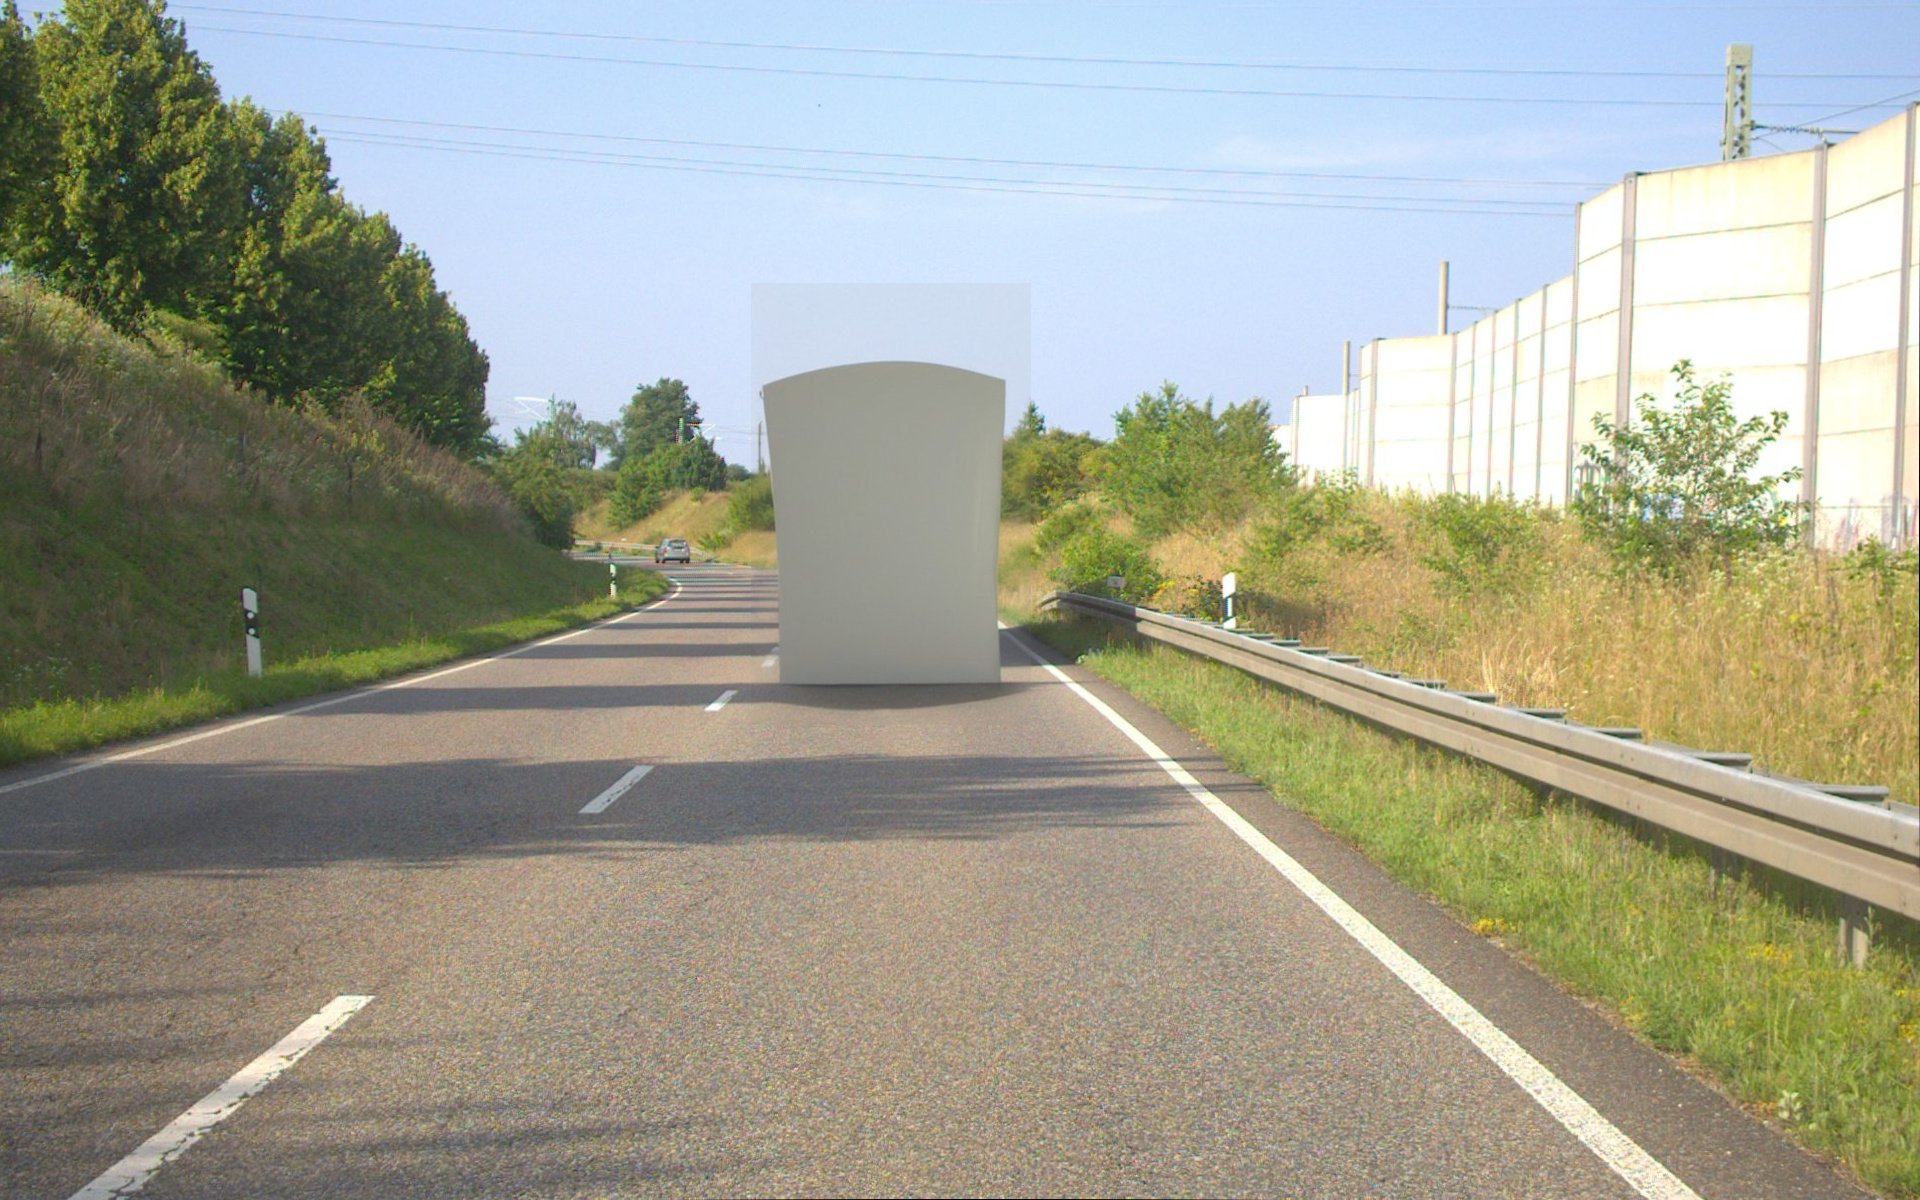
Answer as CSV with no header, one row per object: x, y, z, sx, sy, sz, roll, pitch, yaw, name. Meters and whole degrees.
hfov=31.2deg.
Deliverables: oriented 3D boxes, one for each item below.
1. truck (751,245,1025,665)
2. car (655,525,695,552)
-1.105,-1.928,47.863,3.290,5.072,12.039,1,2,-2,truck
-17.201,-3.711,207.650,2.046,1.576,4.360,1,1,0,car
